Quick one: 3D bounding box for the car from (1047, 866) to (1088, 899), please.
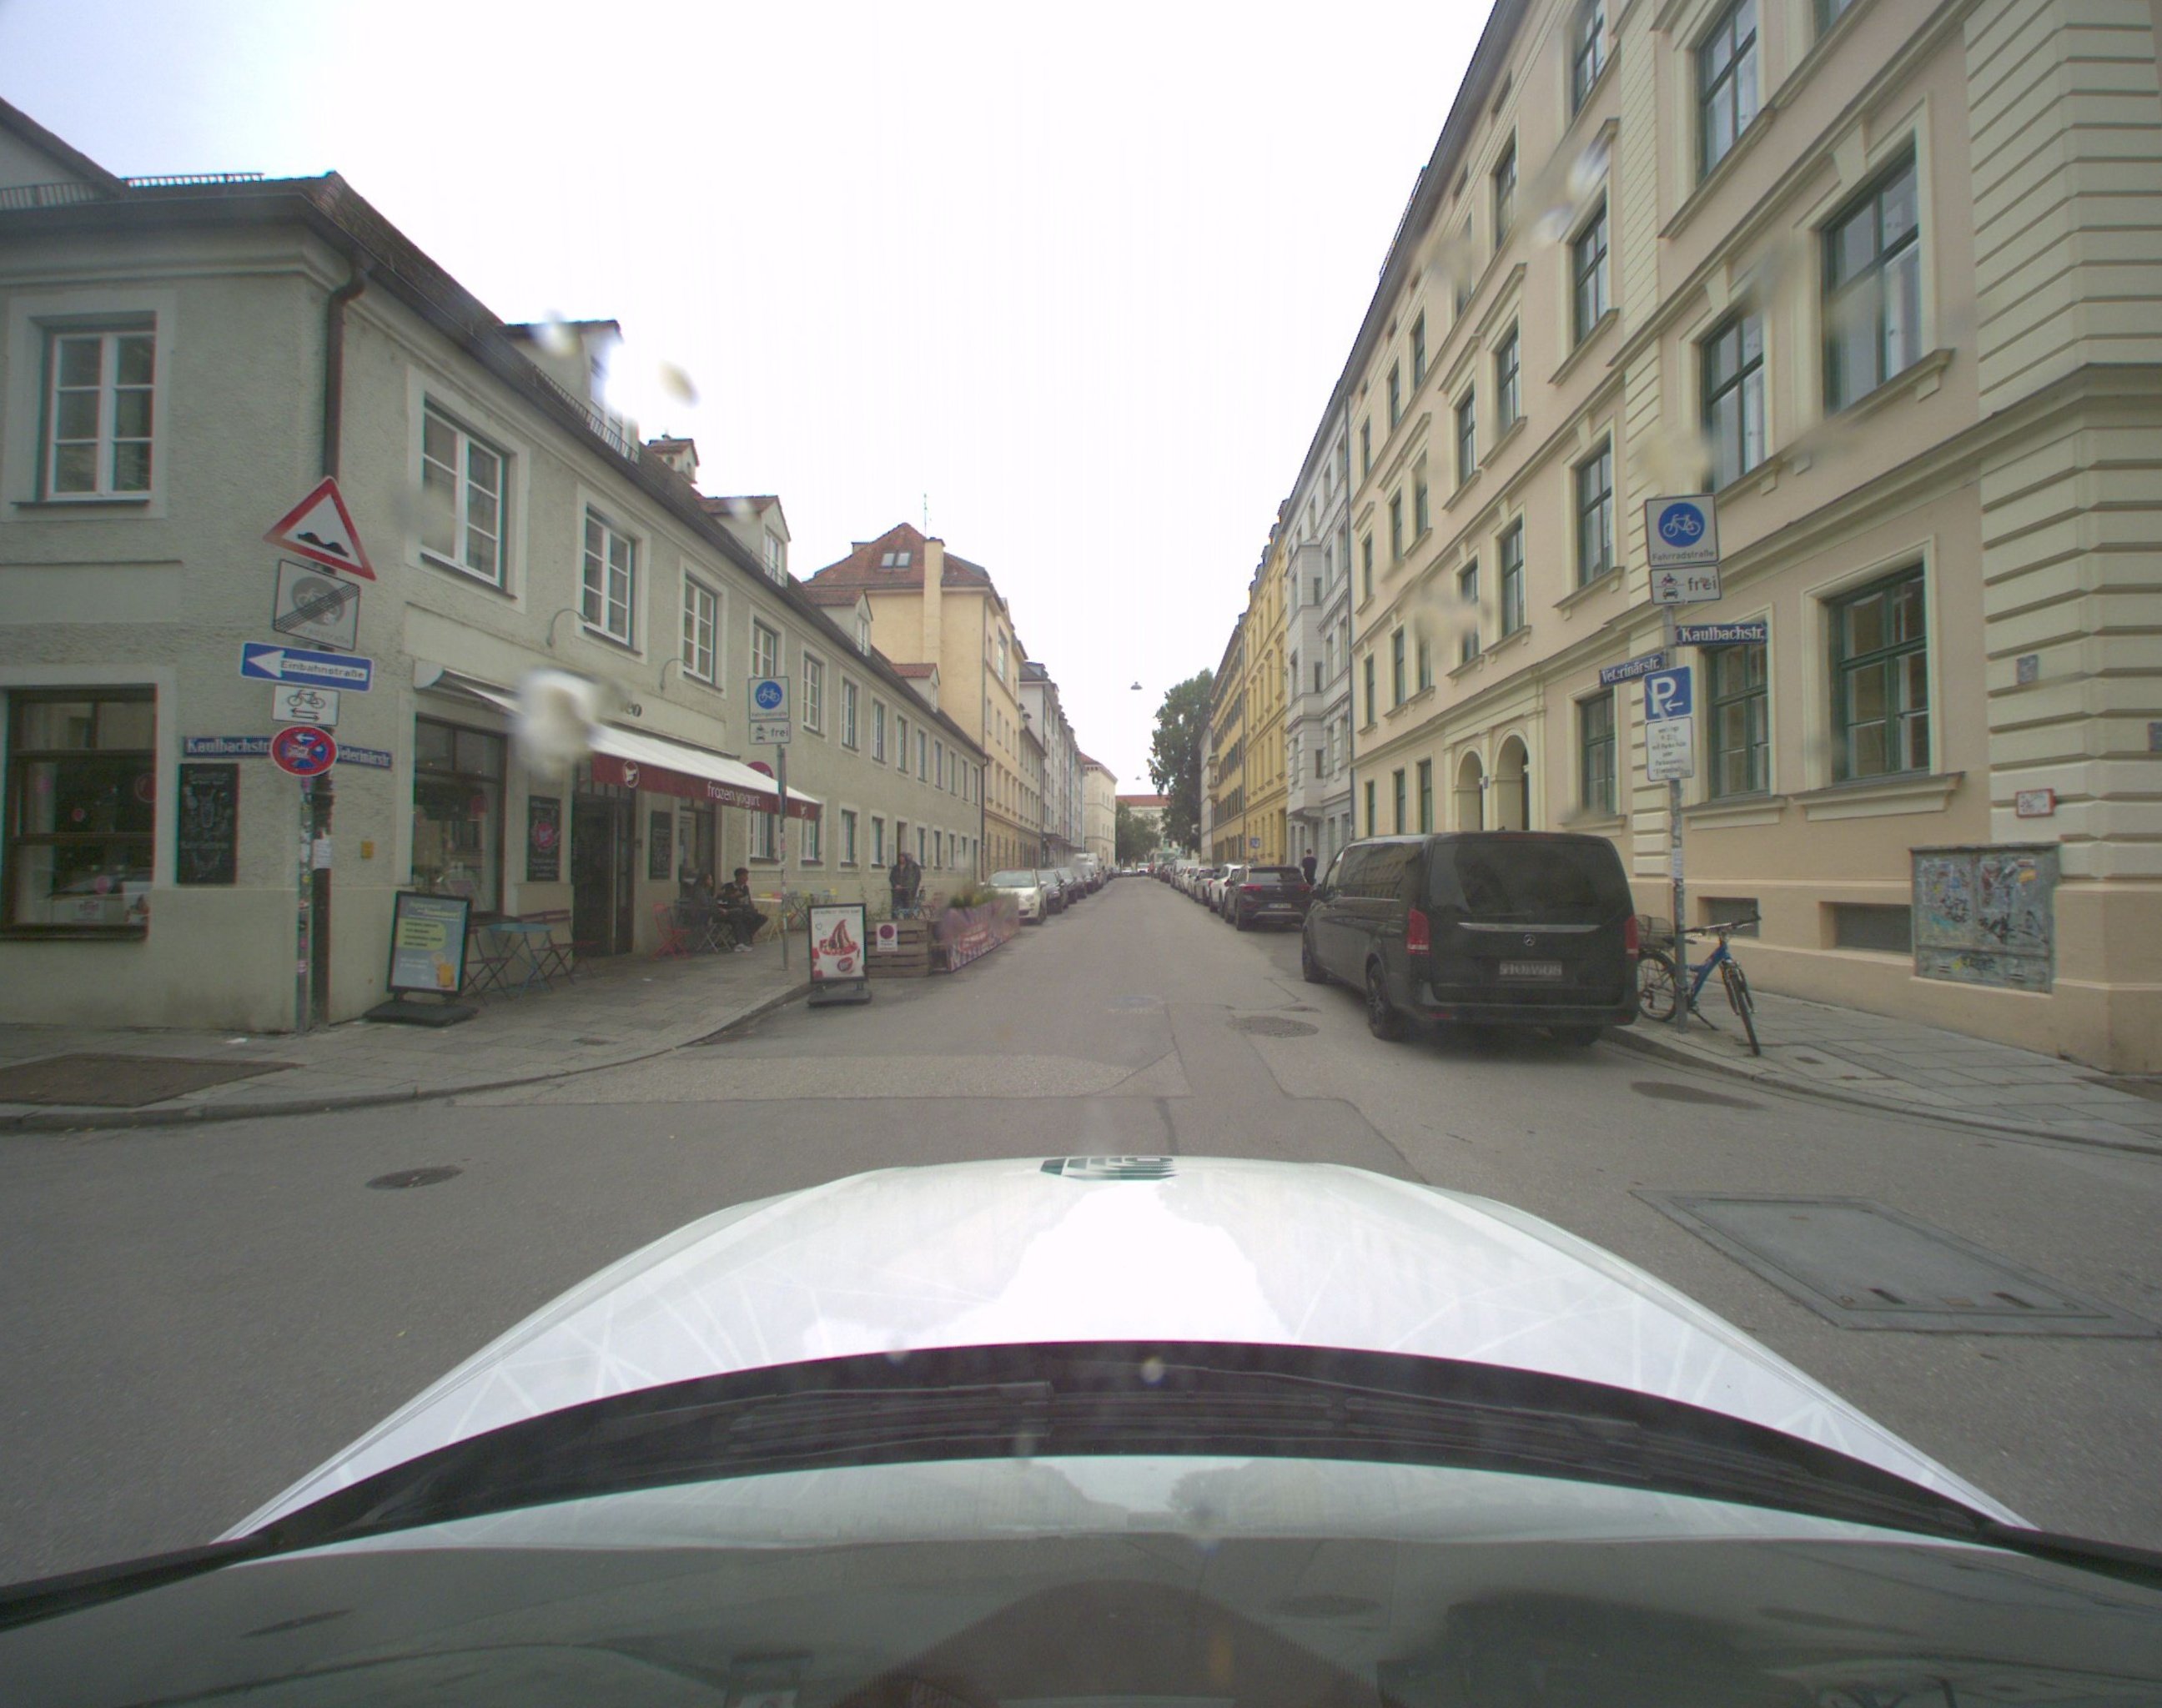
[{"bbox_3d":[-0.613,1.305,38.653,1.810,1.441,4.131,-1,-1,0],"label":"car"}]

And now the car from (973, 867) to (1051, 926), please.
[{"bbox_3d":[-1.815,1.098,22.519,1.748,1.475,3.714,1,-1,1],"label":"car"}]

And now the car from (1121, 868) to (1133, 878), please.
[{"bbox_3d":[7.405,3.084,130.122,1.698,1.581,3.869,-1,-1,6],"label":"car"}]

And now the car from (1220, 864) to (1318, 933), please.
[{"bbox_3d":[4.569,1.036,20.379,1.747,1.521,4.279,0,-1,4],"label":"car"}]

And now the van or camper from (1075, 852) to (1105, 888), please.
[{"bbox_3d":[0.631,1.052,54.087,1.747,2.281,5.277,0,-1,3],"label":"van or camper"}]

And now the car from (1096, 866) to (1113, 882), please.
[{"bbox_3d":[2.602,2.120,87.786,1.699,1.609,3.865,-1,-1,3],"label":"car"}]

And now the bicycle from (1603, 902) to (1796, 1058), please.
[{"bbox_3d":[5.318,1.023,7.136,0.463,1.052,1.731,-2,1,5],"label":"bicycle"}]

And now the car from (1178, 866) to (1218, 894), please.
[{"bbox_3d":[6.270,1.368,44.137,1.701,1.454,4.098,0,-1,2],"label":"car"}]

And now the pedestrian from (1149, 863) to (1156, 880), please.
[{"bbox_3d":[7.064,1.719,80.266,0.639,1.714,0.843,-1,-2,4],"label":"pedestrian"}]

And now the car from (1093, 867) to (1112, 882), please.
[{"bbox_3d":[2.193,2.073,82.675,1.810,1.444,3.821,-1,-1,3],"label":"car"}]

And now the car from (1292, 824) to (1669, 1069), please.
[{"bbox_3d":[3.755,0.739,8.934,1.988,1.864,5.260,0,-1,5],"label":"car"}]

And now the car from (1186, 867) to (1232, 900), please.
[{"bbox_3d":[5.828,1.334,37.606,1.700,1.409,4.819,0,-1,4],"label":"car"}]

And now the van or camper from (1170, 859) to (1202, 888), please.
[{"bbox_3d":[6.886,1.272,53.980,1.825,1.872,5.084,0,-1,4],"label":"van or camper"}]

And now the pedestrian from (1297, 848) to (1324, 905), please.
[{"bbox_3d":[8.225,0.822,29.206,0.666,1.981,0.709,-4,-3,4],"label":"pedestrian"}]

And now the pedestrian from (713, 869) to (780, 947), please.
[{"bbox_3d":[-5.681,0.912,13.868,0.799,1.290,0.694,-1,-2,4],"label":"pedestrian"}]

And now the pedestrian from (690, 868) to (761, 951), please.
[{"bbox_3d":[-5.722,0.885,13.145,0.799,1.290,0.694,-1,-2,4],"label":"pedestrian"}]

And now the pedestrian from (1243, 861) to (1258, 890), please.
[{"bbox_3d":[9.389,1.181,45.145,0.658,1.572,0.643,-3,-3,3],"label":"pedestrian"}]

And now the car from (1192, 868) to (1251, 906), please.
[{"bbox_3d":[5.403,1.254,31.841,1.702,1.405,4.208,0,-1,2],"label":"car"}]

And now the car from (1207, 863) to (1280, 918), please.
[{"bbox_3d":[4.994,1.081,25.546,1.735,1.583,4.471,0,-1,4],"label":"car"}]

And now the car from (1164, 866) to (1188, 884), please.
[{"bbox_3d":[7.962,1.776,68.475,1.804,1.465,4.250,1,-1,4],"label":"car"}]

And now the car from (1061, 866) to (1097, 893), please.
[{"bbox_3d":[-0.067,1.350,43.651,1.747,1.409,4.105,0,-1,2],"label":"car"}]

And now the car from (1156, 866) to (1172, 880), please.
[{"bbox_3d":[9.610,2.202,94.642,1.803,1.614,4.160,0,-1,4],"label":"car"}]

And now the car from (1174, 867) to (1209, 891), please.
[{"bbox_3d":[6.587,1.486,48.990,1.701,1.392,4.208,0,-1,2],"label":"car"}]

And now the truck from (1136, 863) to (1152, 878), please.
[{"bbox_3d":[10.113,2.701,130.671,2.109,2.247,6.199,-1,-2,8],"label":"truck"}]

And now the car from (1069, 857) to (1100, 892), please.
[{"bbox_3d":[0.209,1.219,48.796,1.749,1.995,4.624,0,-1,0],"label":"car"}]

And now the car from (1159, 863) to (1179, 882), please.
[{"bbox_3d":[8.722,1.827,80.749,1.803,1.797,4.251,1,-1,4],"label":"car"}]

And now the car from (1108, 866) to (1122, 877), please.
[{"bbox_3d":[4.793,2.493,115.745,1.698,1.609,3.869,-1,-1,6],"label":"car"}]

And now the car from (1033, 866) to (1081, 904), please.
[{"bbox_3d":[-0.945,1.237,33.545,1.748,1.496,4.201,0,-1,1],"label":"car"}]

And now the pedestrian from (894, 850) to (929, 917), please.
[{"bbox_3d":[-4.939,0.854,23.756,0.819,1.898,0.828,-1,-2,3],"label":"pedestrian"}]

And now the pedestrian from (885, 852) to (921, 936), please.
[{"bbox_3d":[-3.878,0.873,17.765,0.526,1.782,0.878,-1,-2,4],"label":"pedestrian"}]

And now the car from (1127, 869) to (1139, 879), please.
[{"bbox_3d":[8.673,3.307,136.196,1.698,1.581,3.869,-1,-1,6],"label":"car"}]

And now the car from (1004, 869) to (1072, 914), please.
[{"bbox_3d":[-1.365,1.220,27.658,1.791,1.339,4.689,0,0,3],"label":"car"}]

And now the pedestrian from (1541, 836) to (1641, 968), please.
[{"bbox_3d":[6.950,0.640,11.150,0.716,1.717,1.004,-1,-2,3],"label":"pedestrian"}]

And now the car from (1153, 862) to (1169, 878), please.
[{"bbox_3d":[9.863,1.947,100.528,1.843,1.920,4.774,0,-1,4],"label":"car"}]

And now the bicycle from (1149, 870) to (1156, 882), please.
[{"bbox_3d":[7.064,2.161,80.199,0.672,1.095,1.762,-1,-2,5],"label":"bicycle"}]
